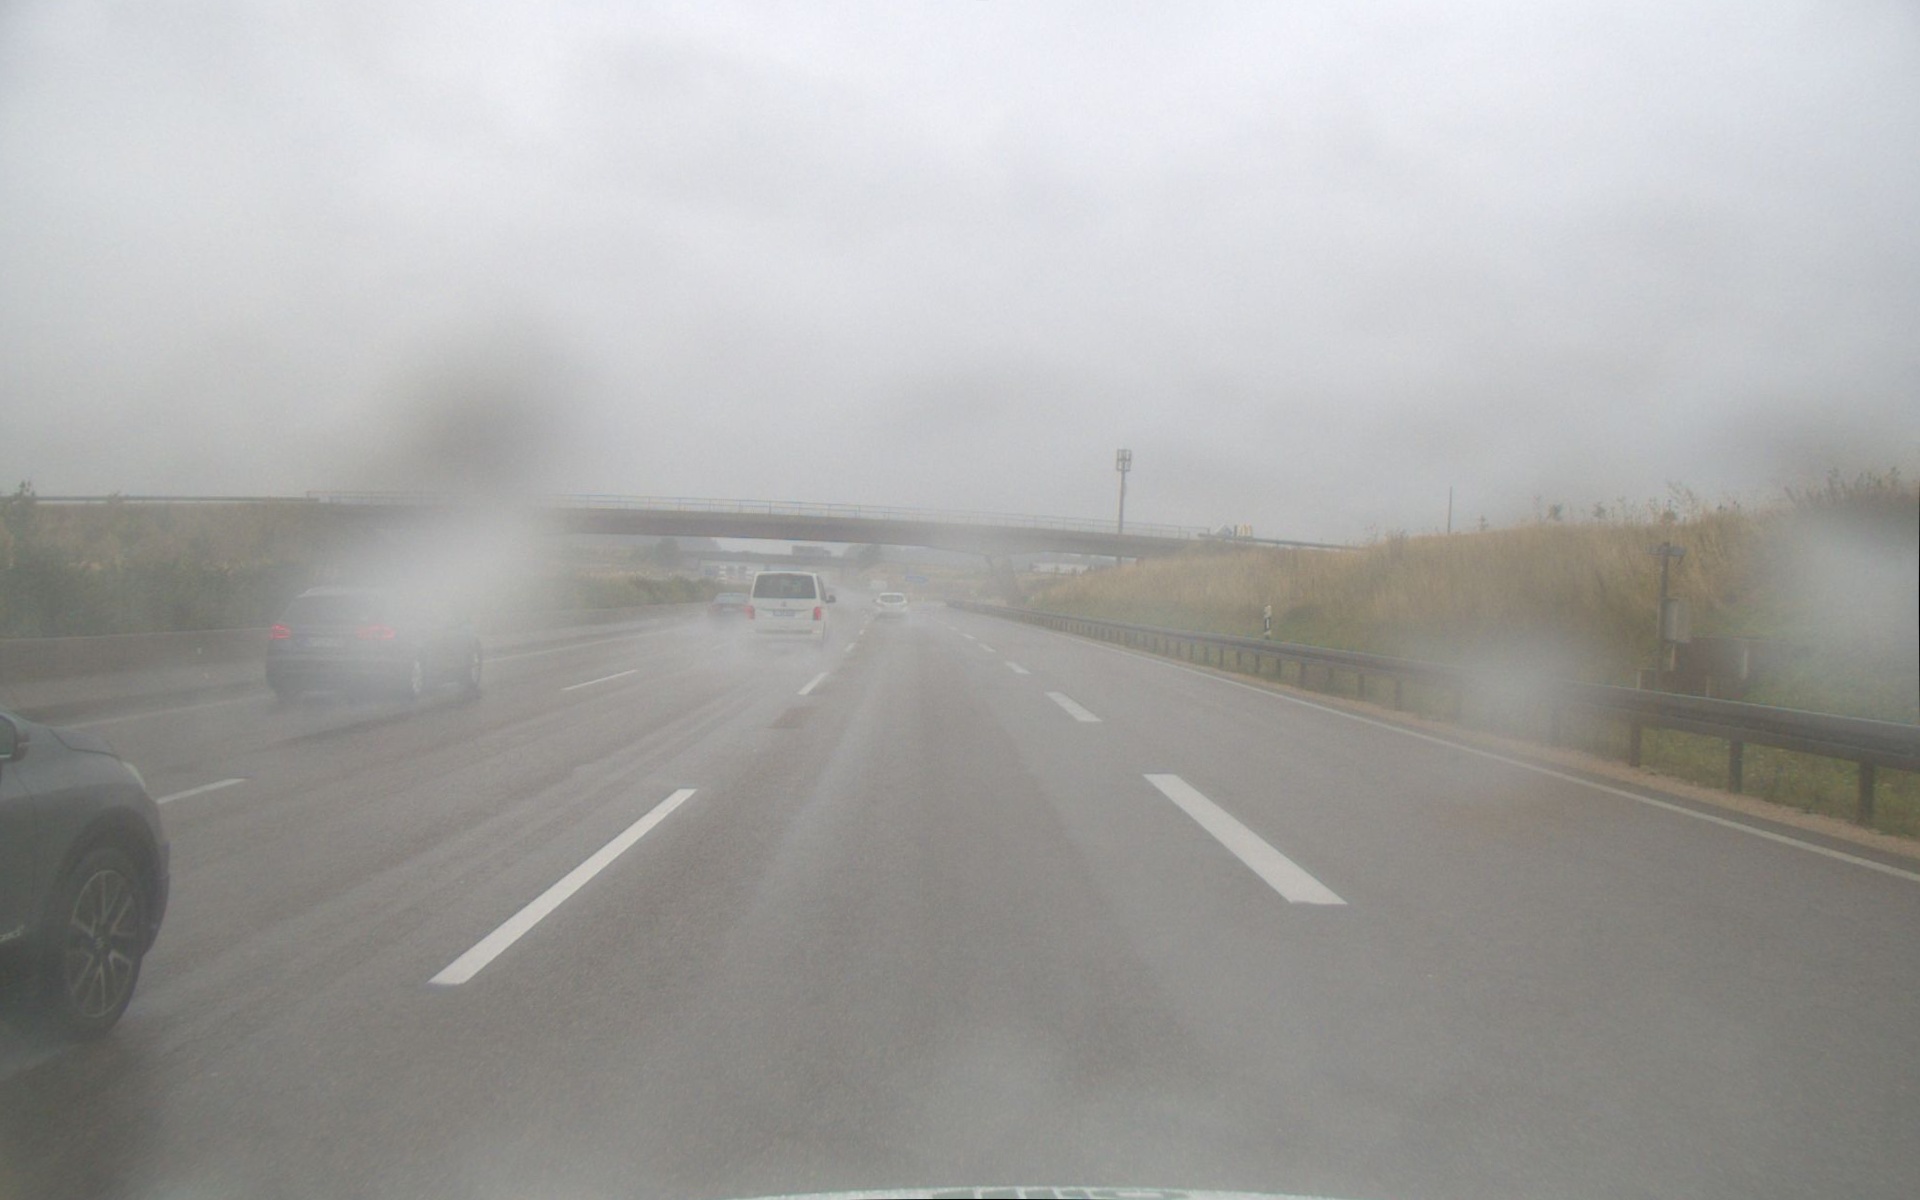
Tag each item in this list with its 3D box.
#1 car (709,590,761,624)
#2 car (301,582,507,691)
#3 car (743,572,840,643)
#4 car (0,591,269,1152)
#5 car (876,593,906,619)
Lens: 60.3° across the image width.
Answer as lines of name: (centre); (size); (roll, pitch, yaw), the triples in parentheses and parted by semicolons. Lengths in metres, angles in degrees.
car: (-8.834, 0.276, 65.103); (1.437, 1.279, 3.341); (1, 0, 2)
car: (-7.756, 0.469, 23.447); (1.580, 1.378, 4.000); (1, 0, 0)
car: (-4.124, 0.177, 40.976); (1.858, 1.613, 4.001); (1, 0, 1)
car: (-3.544, 0.745, 3.949); (1.809, 1.539, 4.756); (1, 0, -1)
car: (-3.463, 0.281, 82.303); (1.438, 1.229, 2.989); (1, 0, -3)
